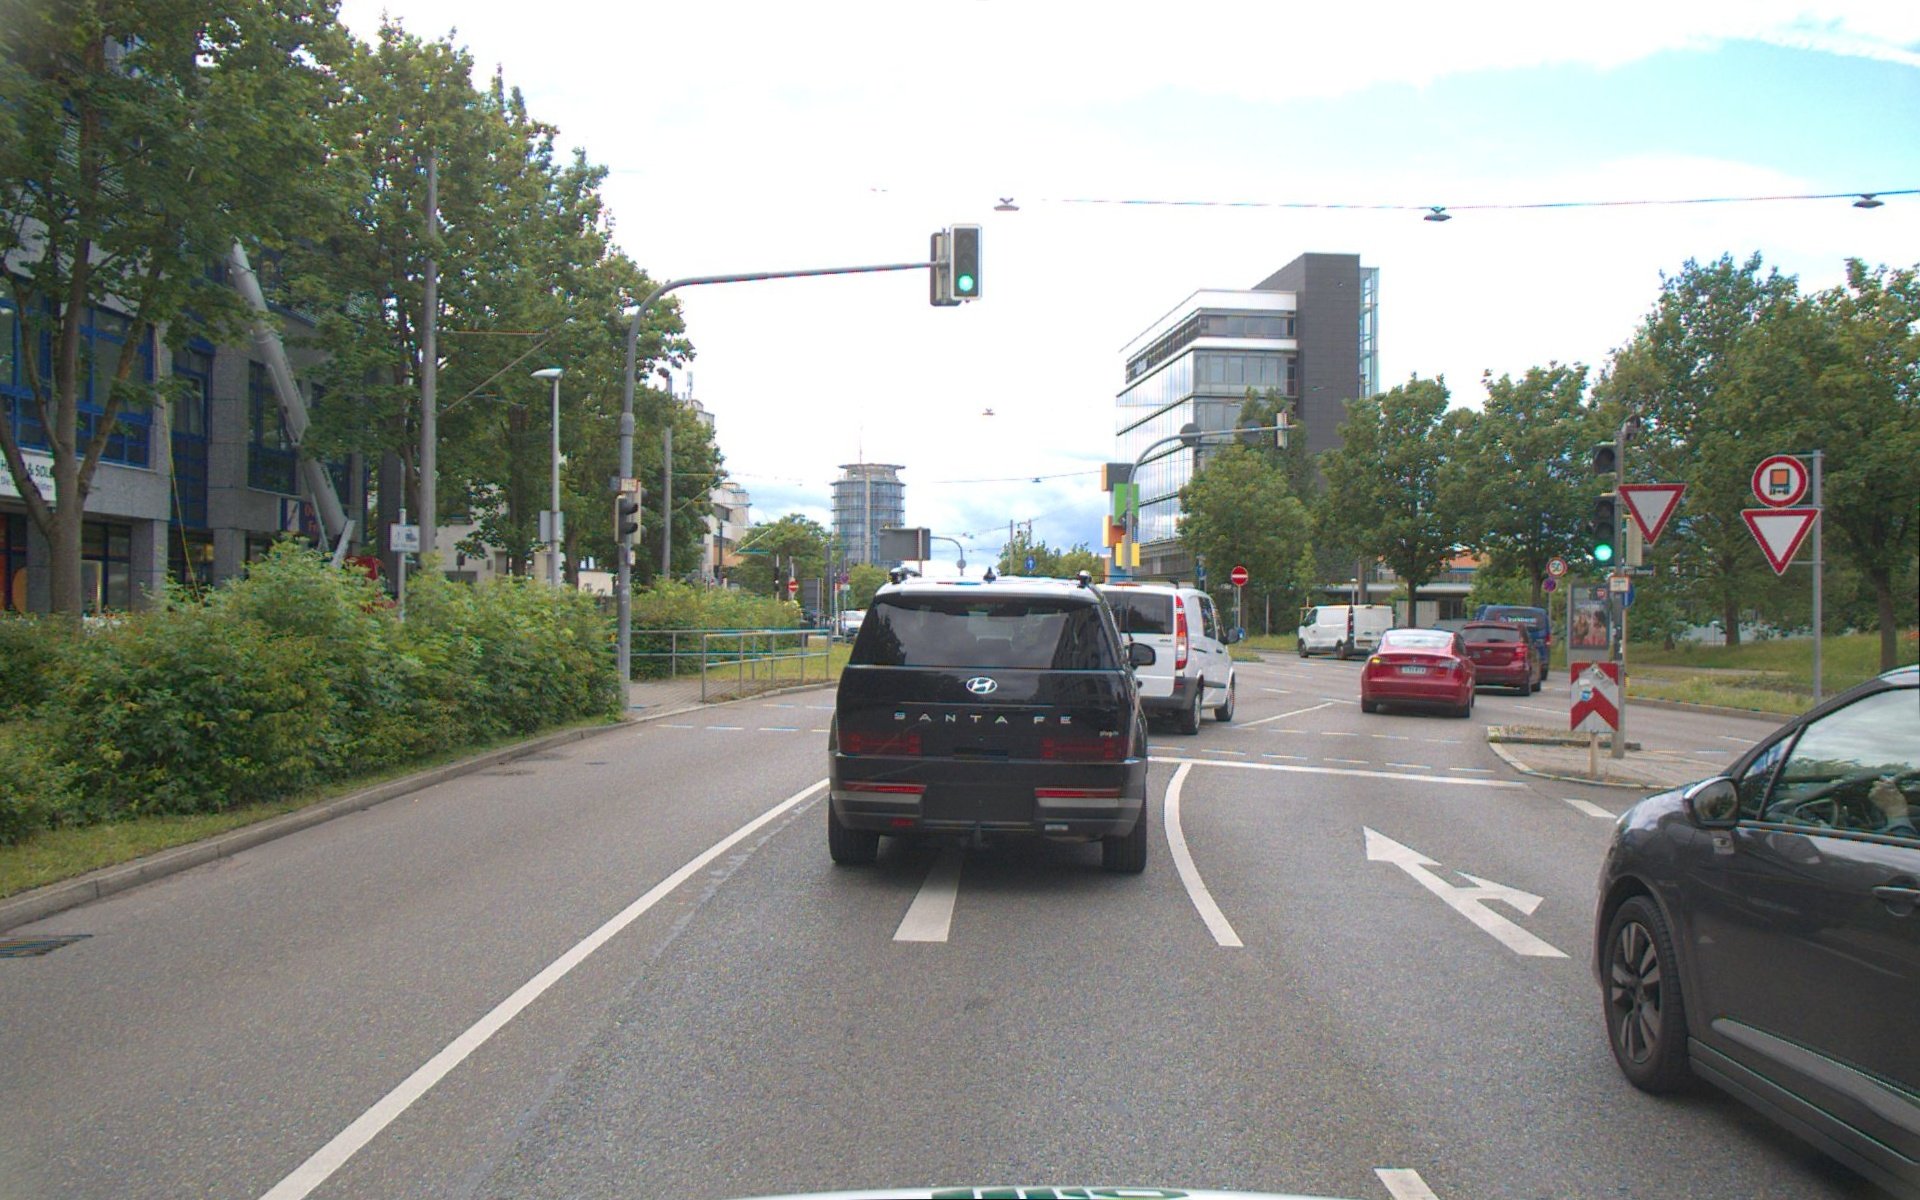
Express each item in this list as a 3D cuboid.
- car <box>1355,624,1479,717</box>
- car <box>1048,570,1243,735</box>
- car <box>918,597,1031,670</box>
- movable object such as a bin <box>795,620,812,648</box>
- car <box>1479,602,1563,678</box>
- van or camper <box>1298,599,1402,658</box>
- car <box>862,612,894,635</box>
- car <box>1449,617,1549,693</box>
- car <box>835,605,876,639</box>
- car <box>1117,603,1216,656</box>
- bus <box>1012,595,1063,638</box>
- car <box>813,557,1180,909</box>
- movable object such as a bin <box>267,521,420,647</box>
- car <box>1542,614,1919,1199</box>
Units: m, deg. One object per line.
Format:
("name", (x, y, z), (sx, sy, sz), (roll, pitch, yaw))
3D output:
("car", (8.157, 1.188, 29.272), (1.834, 1.443, 4.444), (2, 0, 19))
("car", (2.701, 0.675, 23.031), (1.862, 2.003, 4.638), (2, 0, 16))
("car", (0.383, 0.691, 35.838), (1.806, 1.462, 4.709), (-1, 0, 8))
("movable object such as a bin", (-6.040, 1.309, 63.869), (0.553, 1.030, 0.836), (1, -1, -11))
("car", (15.145, 1.056, 44.541), (1.863, 1.891, 4.709), (2, 0, 22))
("van or camper", (14.106, 1.004, 60.084), (1.958, 1.951, 4.396), (1, 1, -12))
("car", (-5.394, 1.544, 108.174), (1.764, 1.481, 4.605), (0, -1, -6))
("car", (11.694, 1.149, 35.781), (1.709, 1.507, 3.717), (1, 0, 23))
("car", (-5.354, 1.101, 84.119), (1.749, 1.564, 4.388), (2, 0, -8))
("car", (6.853, 0.948, 55.318), (1.856, 1.592, 4.381), (2, 0, -13))
("bus", (5.973, 1.339, 128.556), (2.908, 3.171, 9.235), (-1, -1, -4))
("car", (0.342, 0.701, 10.841), (1.862, 1.762, 4.448), (2, 0, 4))
("movable object such as a bin", (-13.763, -0.343, 37.195), (1.867, 2.575, 4.126), (3, 0, -2))
("car", (3.044, 0.814, 4.248), (1.666, 1.486, 4.062), (2, 0, 0))
